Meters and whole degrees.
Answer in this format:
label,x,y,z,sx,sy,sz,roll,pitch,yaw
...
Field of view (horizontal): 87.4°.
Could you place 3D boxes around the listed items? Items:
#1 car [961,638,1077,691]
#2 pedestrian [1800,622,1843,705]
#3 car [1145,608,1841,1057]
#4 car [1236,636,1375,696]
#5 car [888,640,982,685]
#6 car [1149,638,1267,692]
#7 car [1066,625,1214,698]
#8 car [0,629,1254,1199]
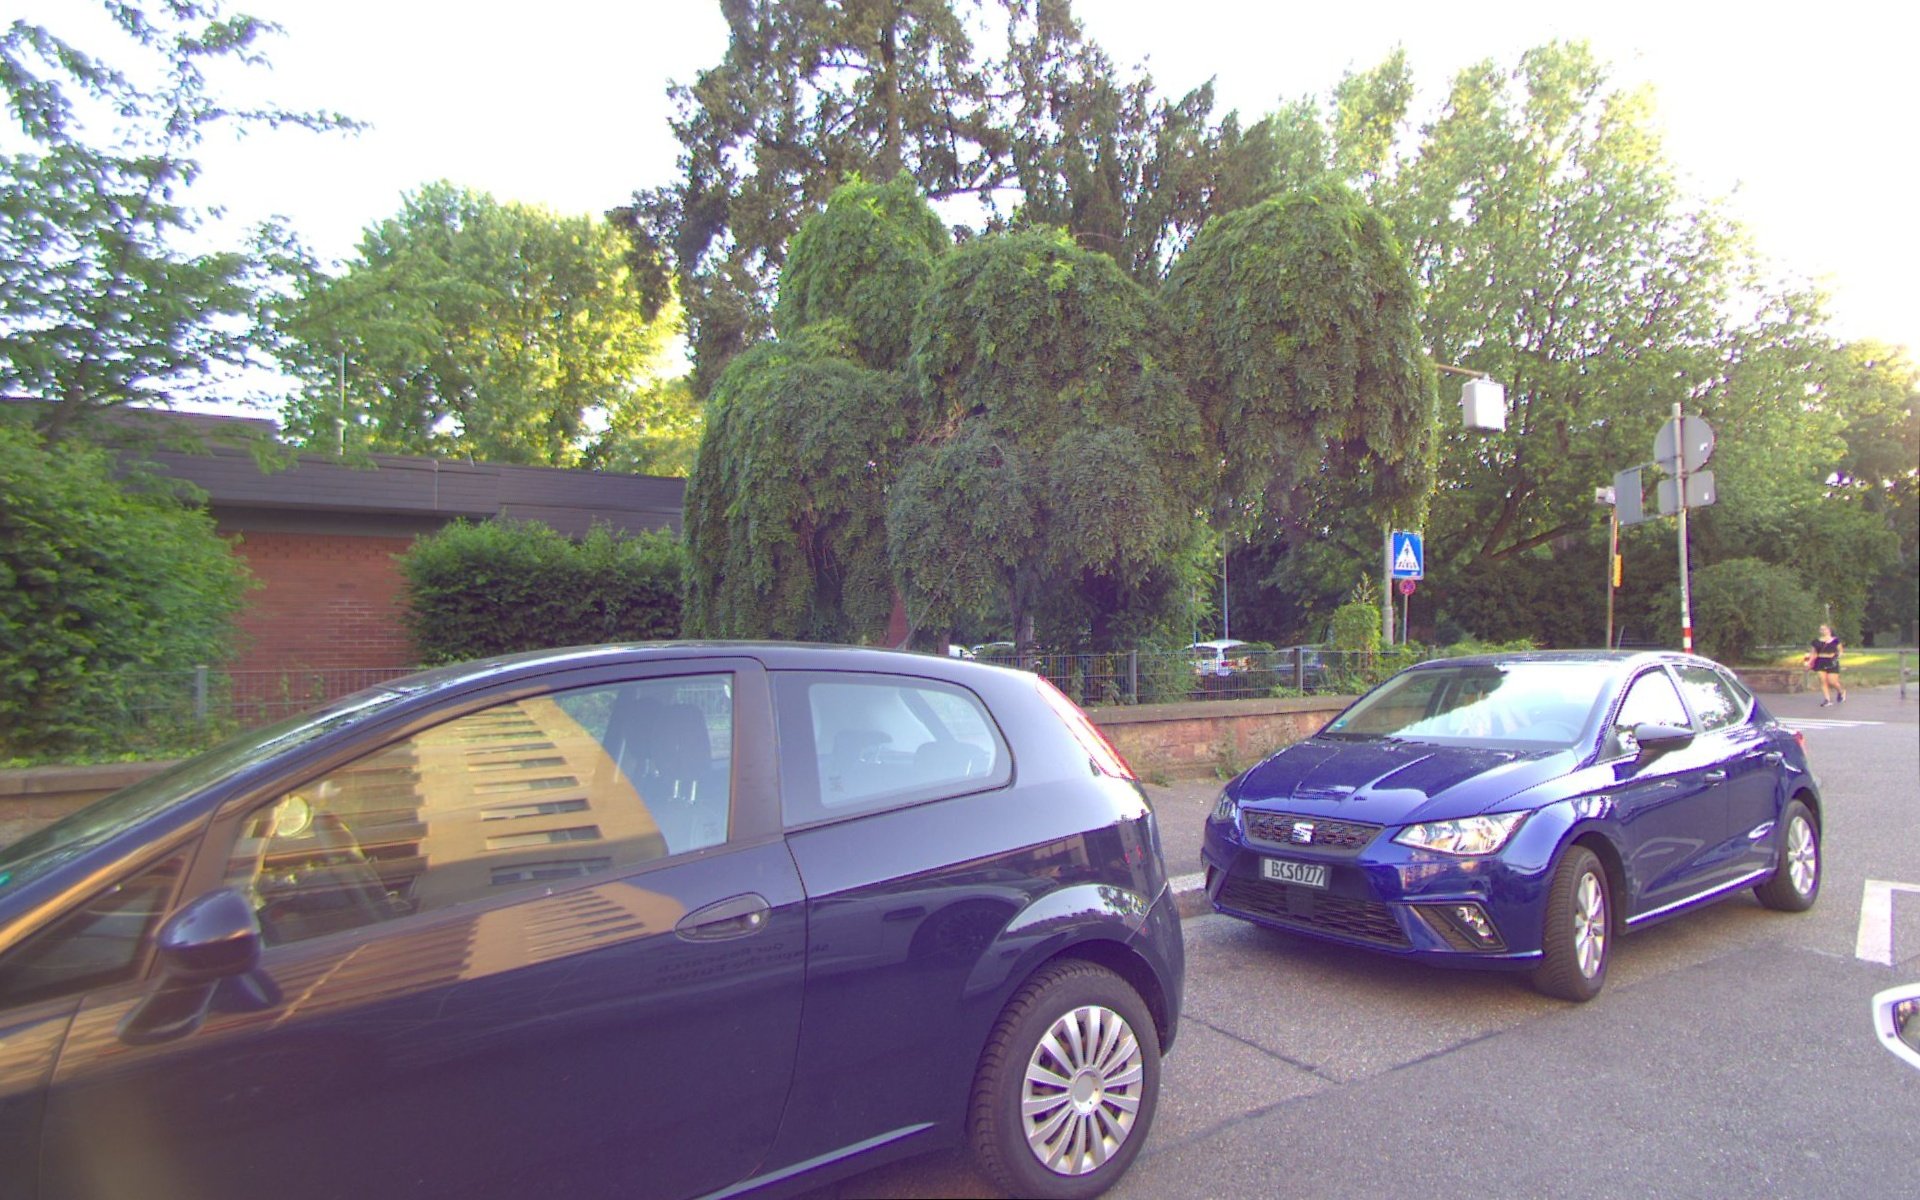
label,x,y,z,sx,sy,sz,roll,pitch,yaw
car,1.853,2.122,32.775,1.801,1.564,4.212,4,-5,-28
pedestrian,17.881,1.292,20.856,0.638,1.671,0.671,0,0,37
car,2.963,0.903,5.378,3.752,1.587,1.723,1,-4,-35
car,10.490,1.994,30.783,1.798,1.511,3.843,-6,0,-24
car,-0.995,2.367,37.757,1.801,1.564,4.212,4,-5,-28
car,8.608,2.250,35.156,1.800,1.583,3.856,-6,0,-27
car,4.897,1.734,27.836,1.801,1.821,4.212,4,-5,-28
car,-1.147,0.904,2.627,3.659,1.587,1.723,1,-4,-34
